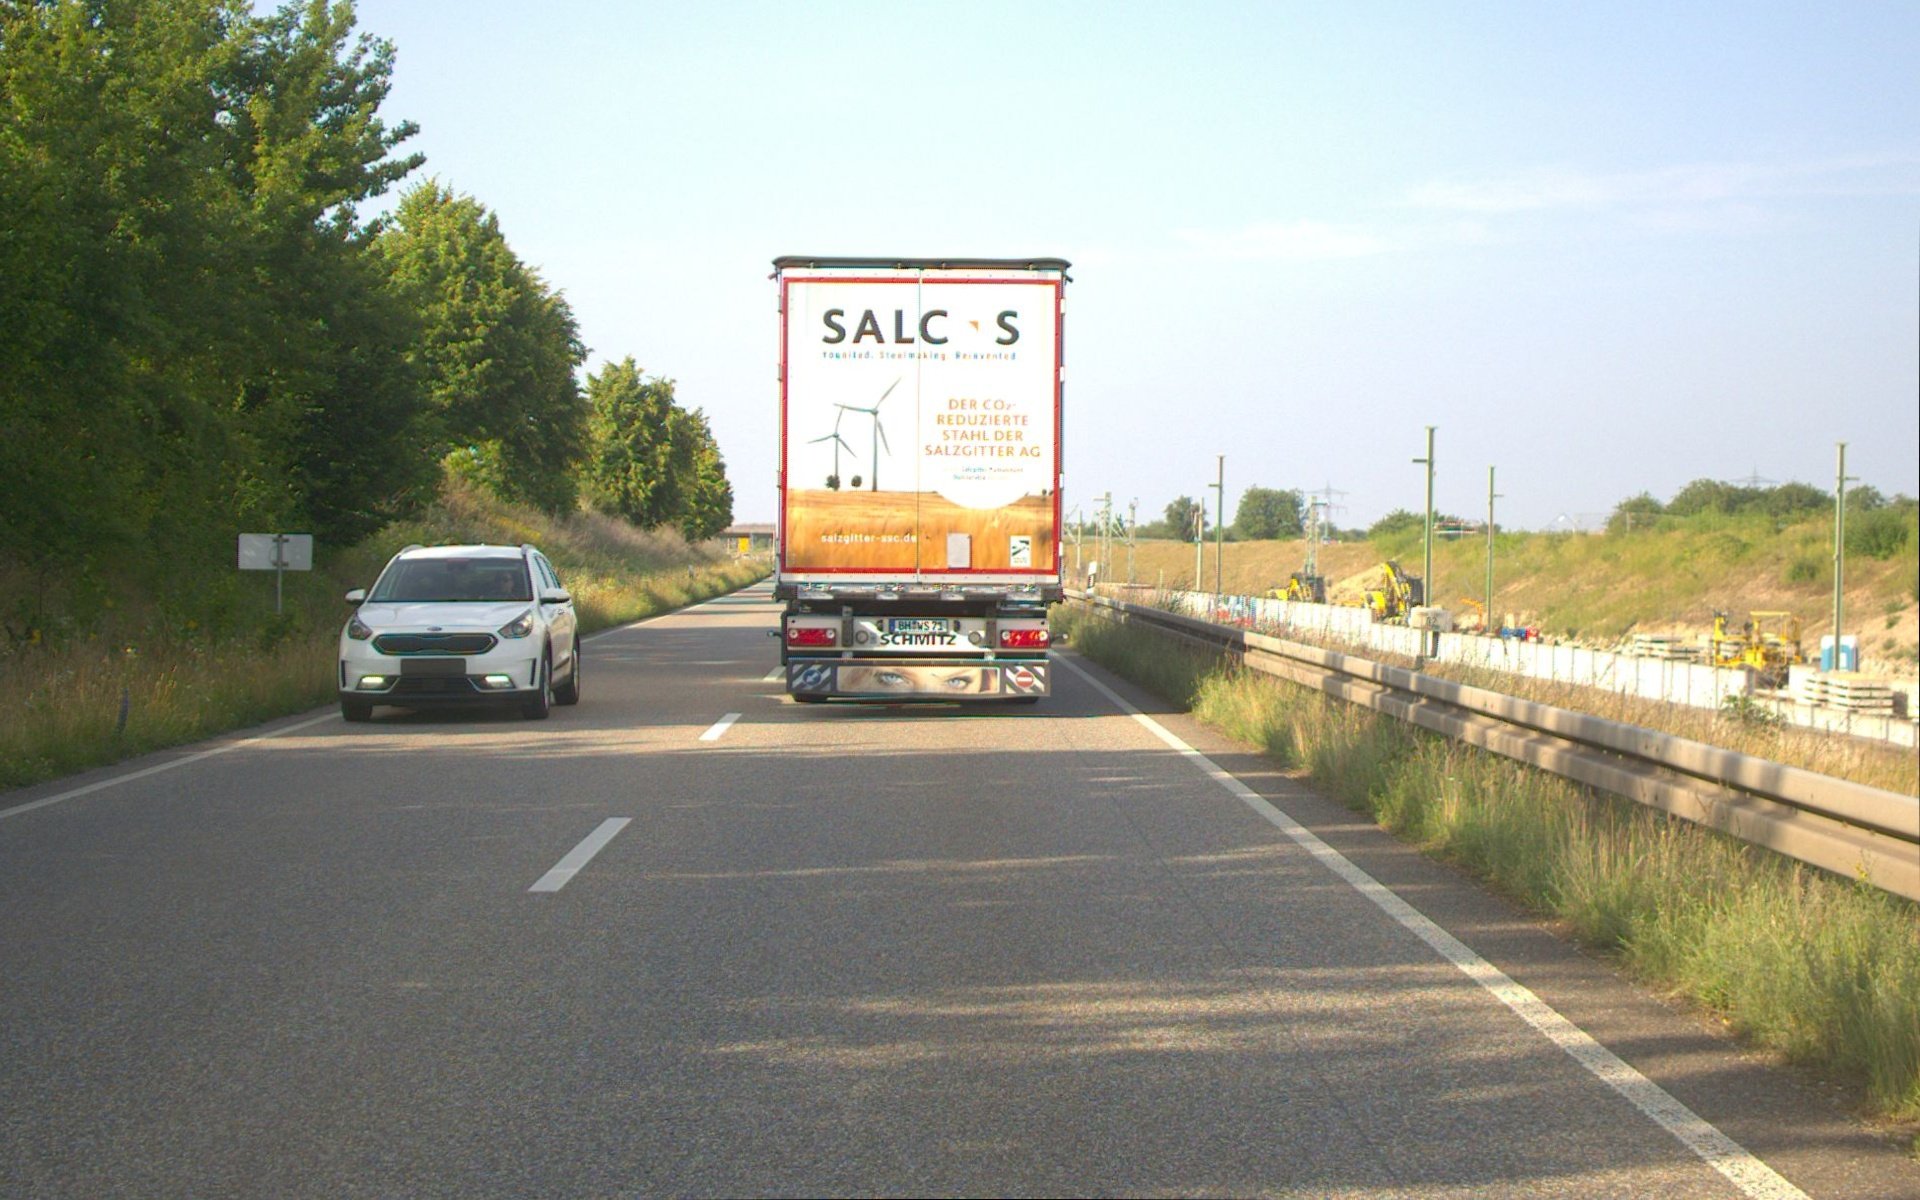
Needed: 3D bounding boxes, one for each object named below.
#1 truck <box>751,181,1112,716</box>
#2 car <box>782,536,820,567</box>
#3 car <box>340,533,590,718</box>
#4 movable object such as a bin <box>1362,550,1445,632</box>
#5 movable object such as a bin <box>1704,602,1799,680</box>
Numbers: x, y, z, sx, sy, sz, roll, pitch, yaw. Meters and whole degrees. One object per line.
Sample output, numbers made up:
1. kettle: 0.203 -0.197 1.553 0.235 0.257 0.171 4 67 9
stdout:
1. truck: -0.336 -1.395 34.351 3.153 4.672 8.442 0 1 -1
2. car: -8.028 -2.468 174.082 1.743 1.541 4.312 0 1 -1
3. car: -4.457 0.183 31.489 1.744 1.559 4.366 -1 1 -1
4. movable object such as a bin: 21.783 -0.498 169.317 2.796 3.872 7.539 1 1 -2
5. movable object such as a bin: 28.086 1.452 121.922 2.907 2.652 2.017 1 1 24
